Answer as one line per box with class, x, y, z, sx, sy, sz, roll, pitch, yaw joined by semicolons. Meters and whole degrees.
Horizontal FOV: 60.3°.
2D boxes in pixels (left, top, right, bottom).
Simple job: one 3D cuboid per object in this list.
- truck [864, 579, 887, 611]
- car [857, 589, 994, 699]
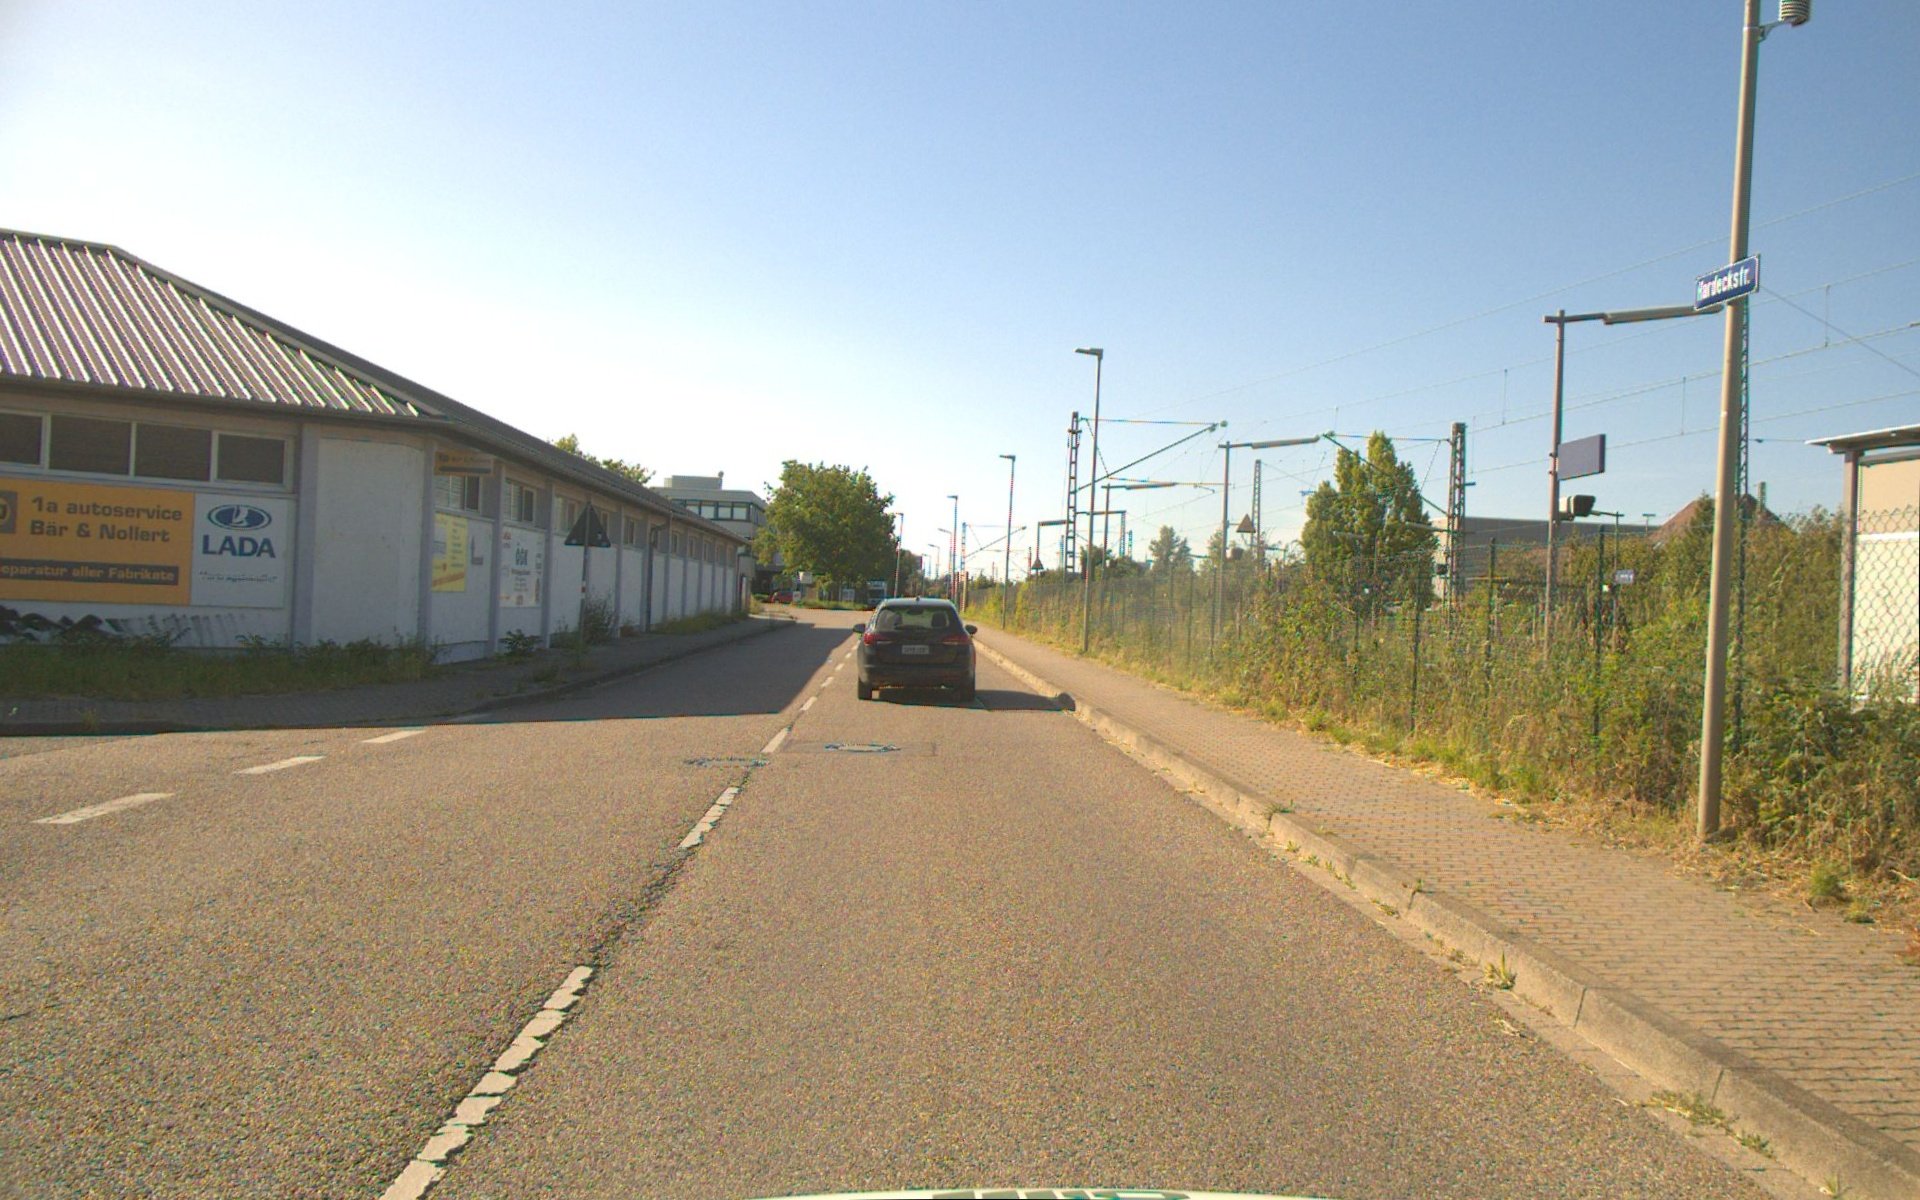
truck;-11.028;-0.628;215.474;2.562;3.953;13.520;3;0;-4
car;-0.581;0.620;25.486;1.903;1.515;4.563;1;0;-3
